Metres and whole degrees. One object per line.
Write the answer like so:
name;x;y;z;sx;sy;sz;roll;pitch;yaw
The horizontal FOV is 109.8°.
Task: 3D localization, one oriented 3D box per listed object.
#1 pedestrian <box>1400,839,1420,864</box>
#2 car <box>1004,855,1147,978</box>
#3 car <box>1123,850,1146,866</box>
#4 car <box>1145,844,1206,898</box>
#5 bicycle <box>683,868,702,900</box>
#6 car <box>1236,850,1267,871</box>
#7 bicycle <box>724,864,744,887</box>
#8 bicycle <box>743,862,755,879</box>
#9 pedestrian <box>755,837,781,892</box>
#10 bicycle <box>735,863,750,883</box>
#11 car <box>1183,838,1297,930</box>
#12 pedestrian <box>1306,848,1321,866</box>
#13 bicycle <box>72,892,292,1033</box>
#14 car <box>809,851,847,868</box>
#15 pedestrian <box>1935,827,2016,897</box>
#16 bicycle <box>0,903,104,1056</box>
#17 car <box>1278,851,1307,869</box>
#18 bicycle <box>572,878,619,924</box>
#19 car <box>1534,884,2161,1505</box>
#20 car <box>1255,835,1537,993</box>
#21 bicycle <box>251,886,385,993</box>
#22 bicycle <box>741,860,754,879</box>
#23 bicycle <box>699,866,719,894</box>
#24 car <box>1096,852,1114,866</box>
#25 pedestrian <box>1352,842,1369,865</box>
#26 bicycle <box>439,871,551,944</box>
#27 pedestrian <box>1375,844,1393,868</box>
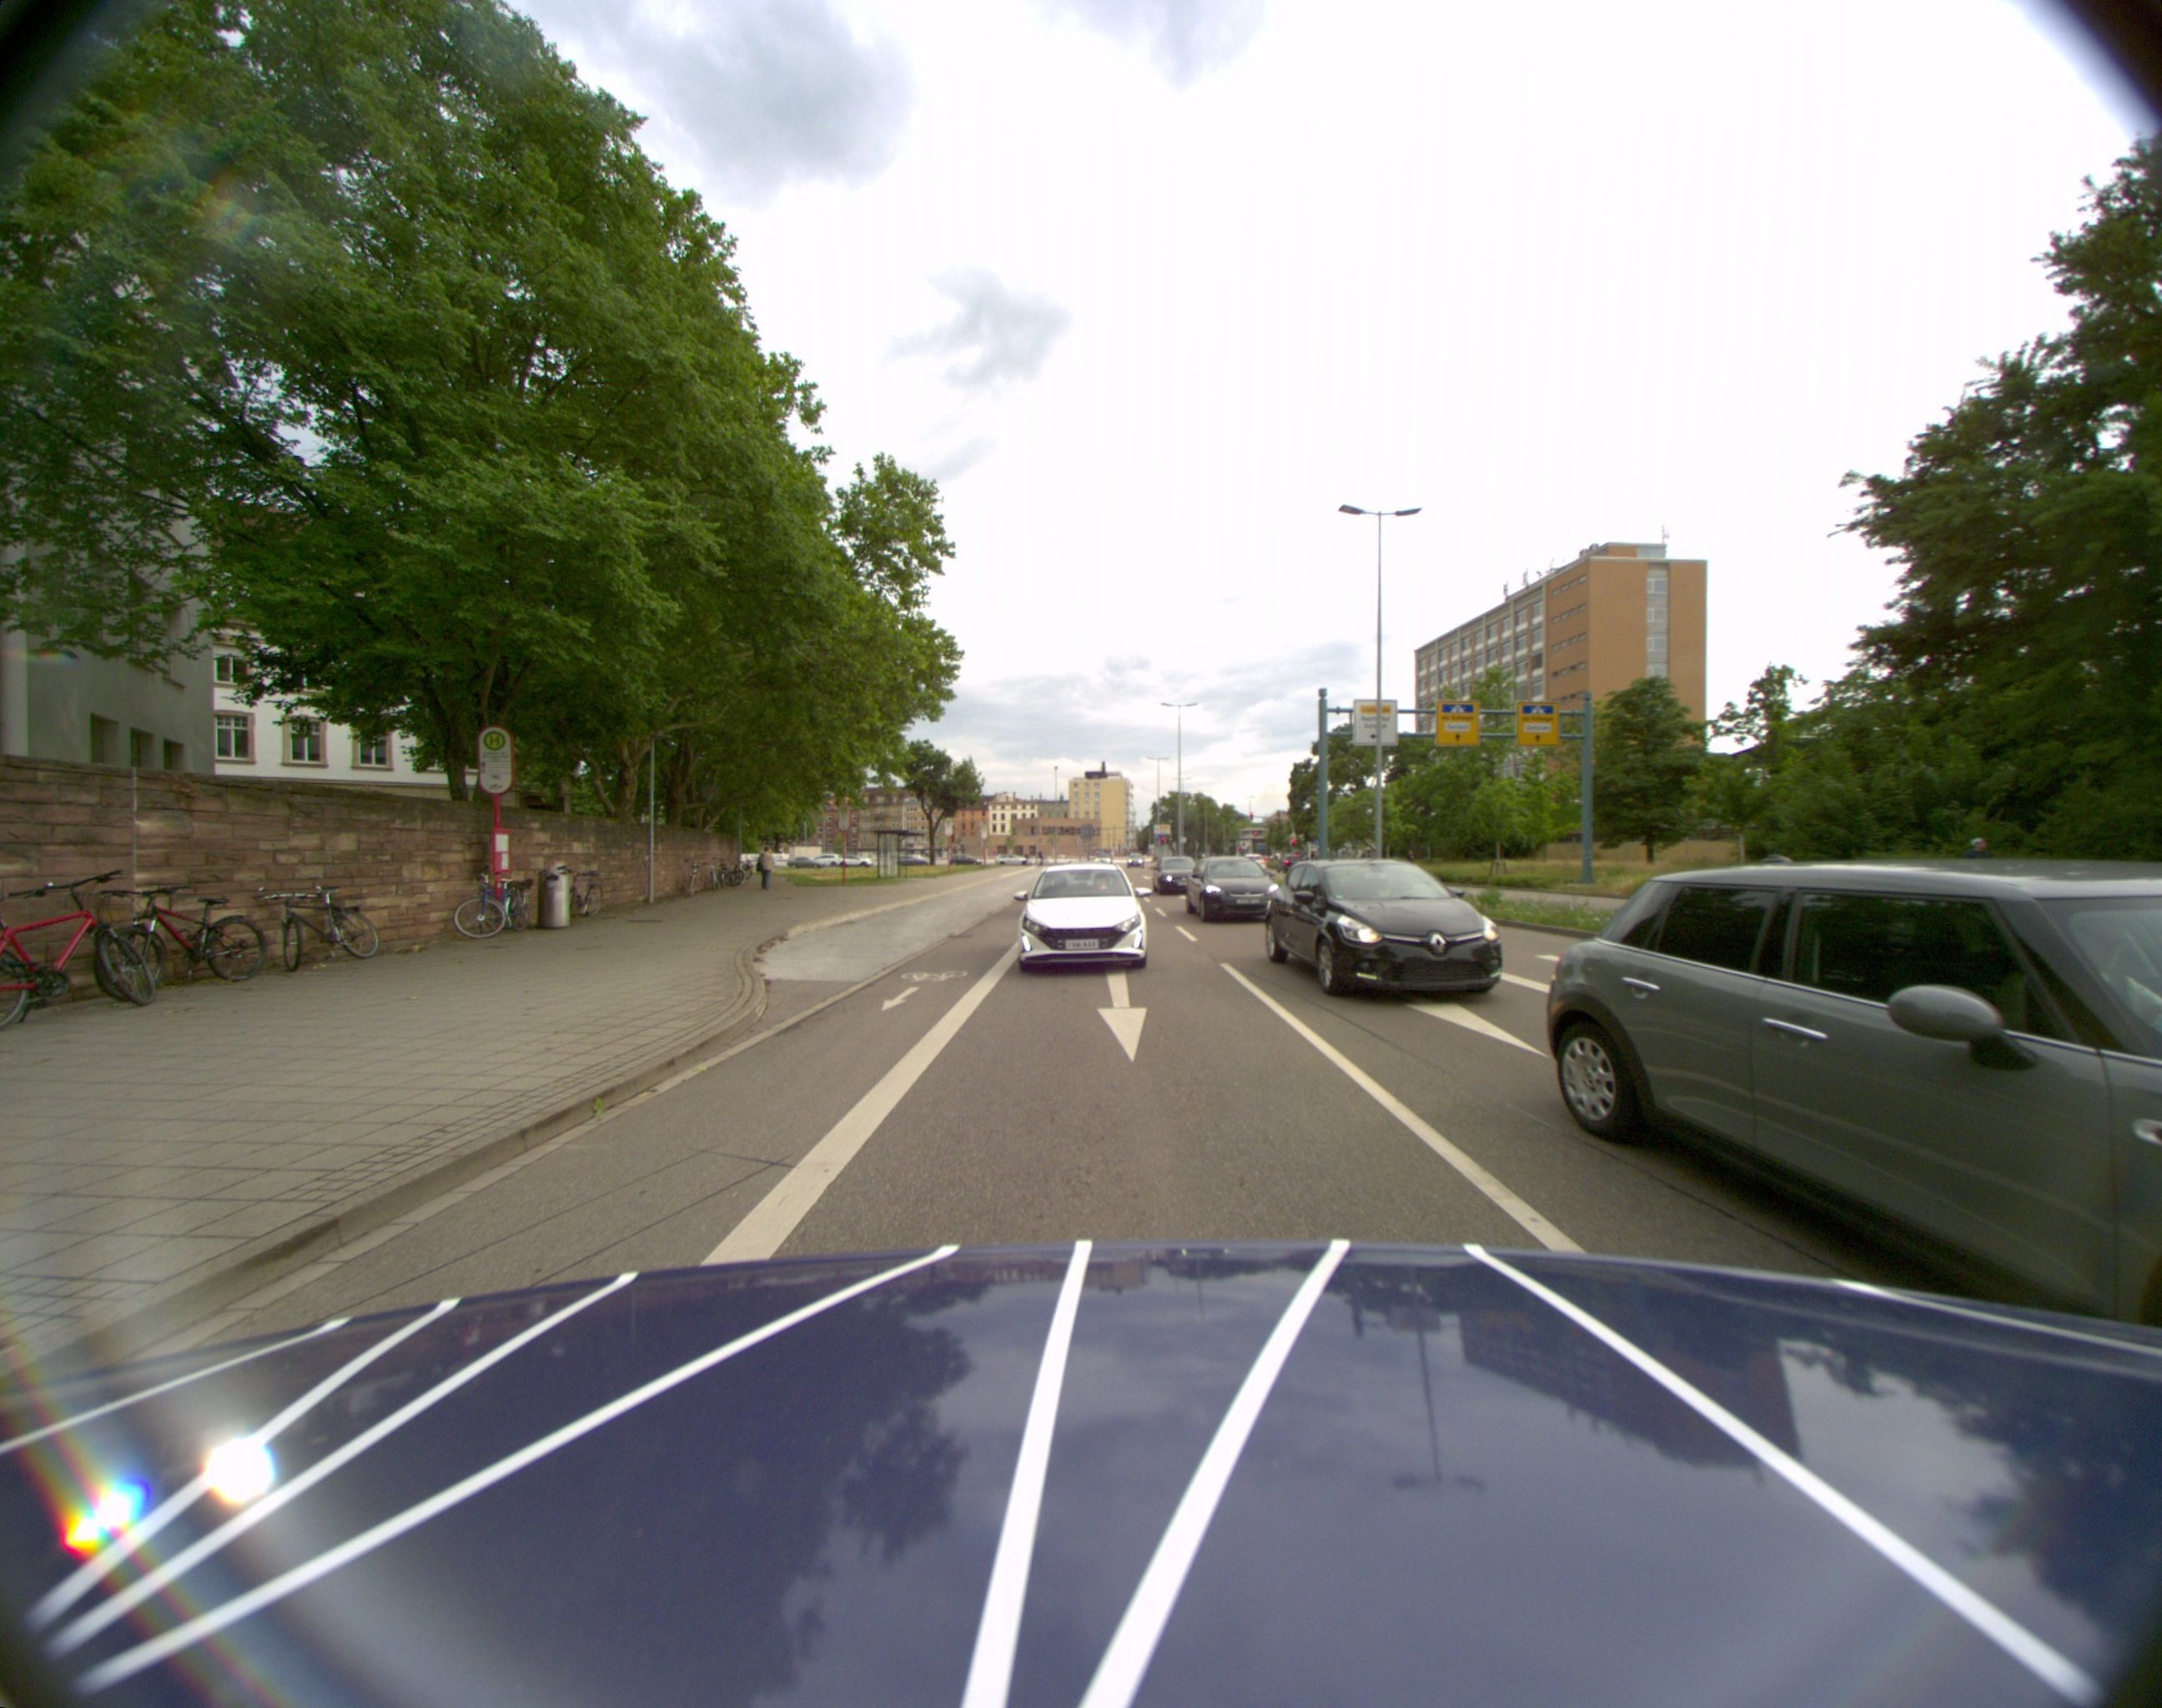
pedestrian;25.935;-0.203;59.899;1.137;1.908;1.162;-2;1;4
car;-0.039;0.795;11.647;1.813;1.533;4.000;0;0;1
car;5.509;0.390;78.688;1.999;1.536;3.999;-2;0;0
car;3.678;0.619;30.151;1.998;2.002;4.000;0;0;1
bicycle;-12.233;0.915;23.927;0.365;0.934;1.638;0;1;-21
car;15.033;0.553;67.110;1.893;1.763;4.000;-2;1;3
bicycle;-14.935;0.897;32.722;0.655;0.934;1.953;0;1;-21
bicycle;-18.696;0.930;42.800;0.561;0.934;1.351;0;1;-22
pedestrian;-11.819;0.386;28.705;0.784;2.002;0.887;2;1;-17
bicycle;-16.642;0.928;37.359;0.569;0.934;1.764;0;1;-22
car;3.707;0.634;18.451;1.998;2.002;4.000;0;0;1
pedestrian;27.236;0.354;88.885;1.223;2.002;1.520;-2;1;0
bicycle;-8.960;1.008;7.692;0.339;1.137;1.939;-2;1;-15
car;-32.990;0.675;99.140;4.283;2.002;1.999;-2;1;-3
pedestrian;21.468;0.190;18.256;0.990;1.616;0.813;-2;1;-2
bicycle;-8.742;1.012;6.076;0.387;1.137;1.937;-3;1;-30
car;18.389;0.505;66.206;1.853;1.543;4.002;-1;1;7
bicycle;-10.478;1.000;16.436;0.291;0.880;1.609;0;1;-12
car;3.302;0.833;2.358;1.625;1.310;3.705;0;0;1
car;3.343;0.538;8.968;1.732;1.450;4.000;0;0;1
bicycle;-9.452;1.013;9.490;0.339;1.137;1.676;-2;1;-15
bicycle;-20.418;0.944;46.546;0.693;1.078;1.650;0;1;-22
bicycle;-13.378;0.905;27.321;0.482;0.934;1.896;0;1;-21
car;2.457;0.477;78.004;1.606;1.360;3.578;-2;0;0
pedestrian;24.319;-0.047;66.101;0.882;2.002;1.220;-2;1;-7
bicycle;-9.896;0.862;12.938;0.478;1.070;2.081;0;0;-6
pedestrian;25.828;0.150;64.736;0.882;2.002;1.220;-2;1;-7
